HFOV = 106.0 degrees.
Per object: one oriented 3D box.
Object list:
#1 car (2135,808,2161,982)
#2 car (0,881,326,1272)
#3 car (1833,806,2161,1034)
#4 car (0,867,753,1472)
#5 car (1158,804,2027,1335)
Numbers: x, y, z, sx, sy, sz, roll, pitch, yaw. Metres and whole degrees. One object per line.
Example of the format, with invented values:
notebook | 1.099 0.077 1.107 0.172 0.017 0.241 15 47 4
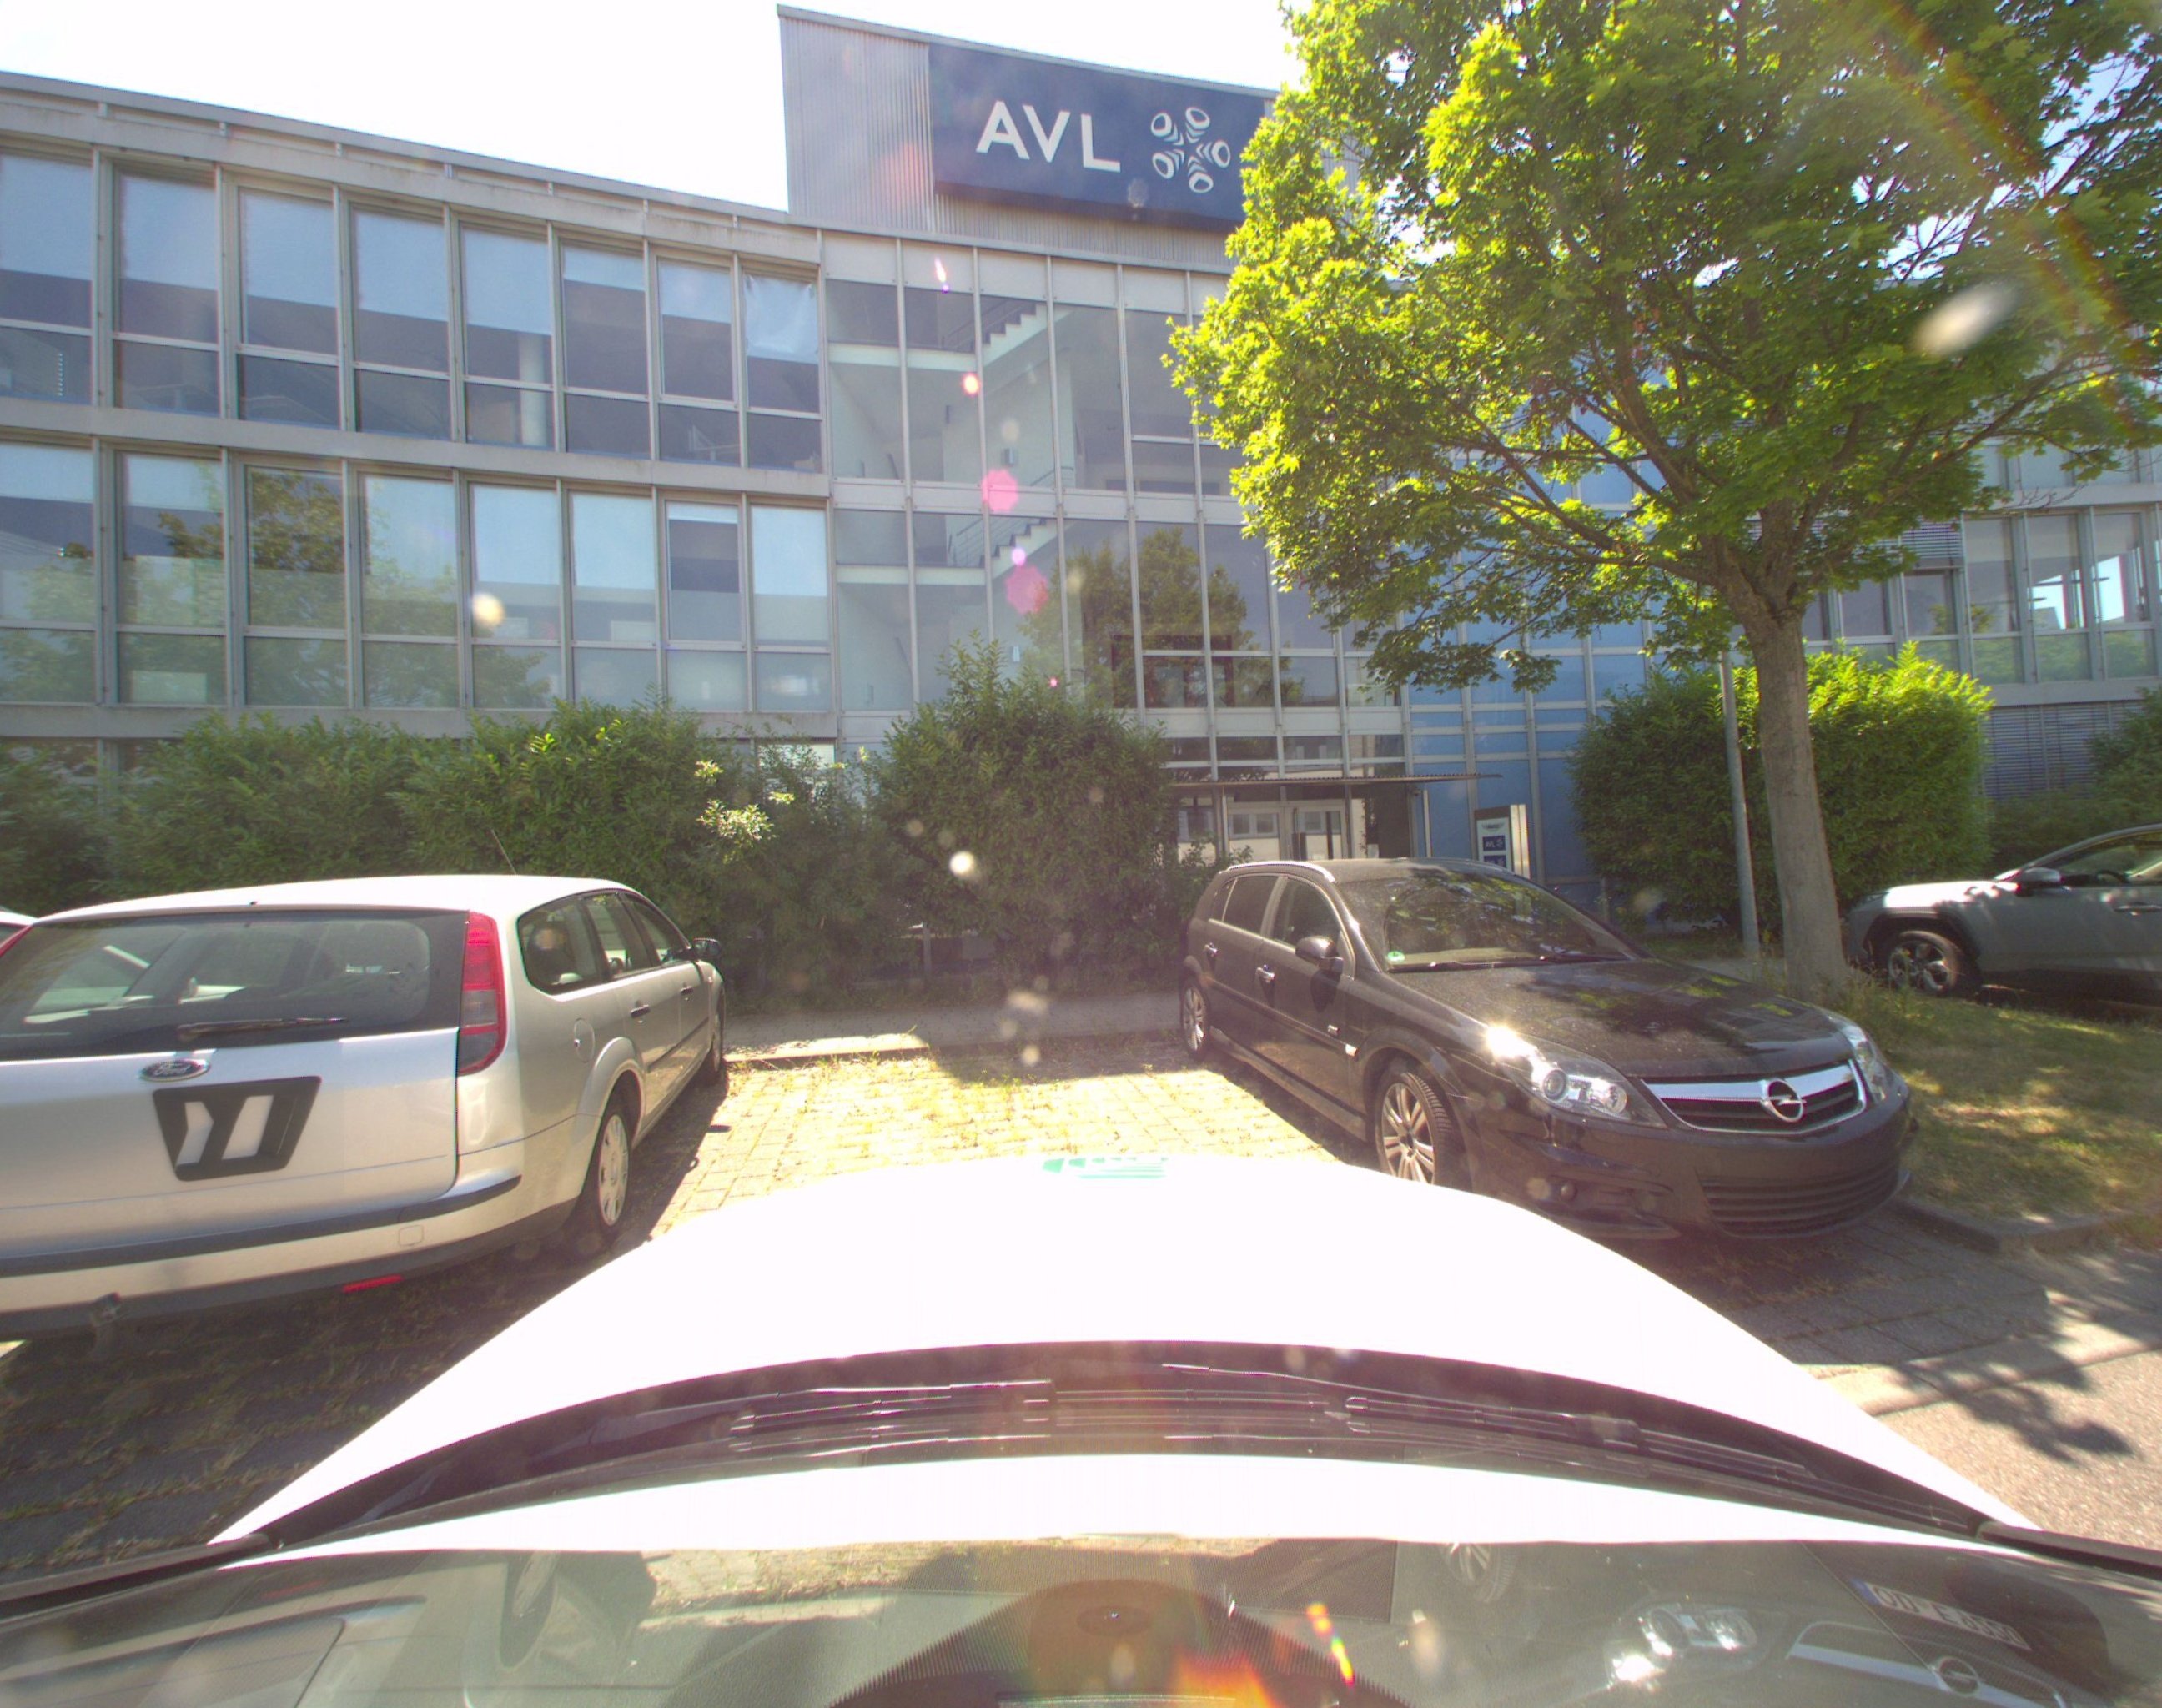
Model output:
car | 11.278 0.366 5.899 1.654 1.643 4.192 -1 0 -8
car | -4.973 0.873 3.020 1.651 1.479 3.869 -1 -1 -17
car | 8.676 0.455 6.073 1.850 1.643 4.321 -1 0 -8
car | -2.951 0.846 4.219 1.722 1.479 4.327 -1 -1 -14
car | 1.911 0.677 4.826 1.758 1.549 4.549 -1 -1 -10
